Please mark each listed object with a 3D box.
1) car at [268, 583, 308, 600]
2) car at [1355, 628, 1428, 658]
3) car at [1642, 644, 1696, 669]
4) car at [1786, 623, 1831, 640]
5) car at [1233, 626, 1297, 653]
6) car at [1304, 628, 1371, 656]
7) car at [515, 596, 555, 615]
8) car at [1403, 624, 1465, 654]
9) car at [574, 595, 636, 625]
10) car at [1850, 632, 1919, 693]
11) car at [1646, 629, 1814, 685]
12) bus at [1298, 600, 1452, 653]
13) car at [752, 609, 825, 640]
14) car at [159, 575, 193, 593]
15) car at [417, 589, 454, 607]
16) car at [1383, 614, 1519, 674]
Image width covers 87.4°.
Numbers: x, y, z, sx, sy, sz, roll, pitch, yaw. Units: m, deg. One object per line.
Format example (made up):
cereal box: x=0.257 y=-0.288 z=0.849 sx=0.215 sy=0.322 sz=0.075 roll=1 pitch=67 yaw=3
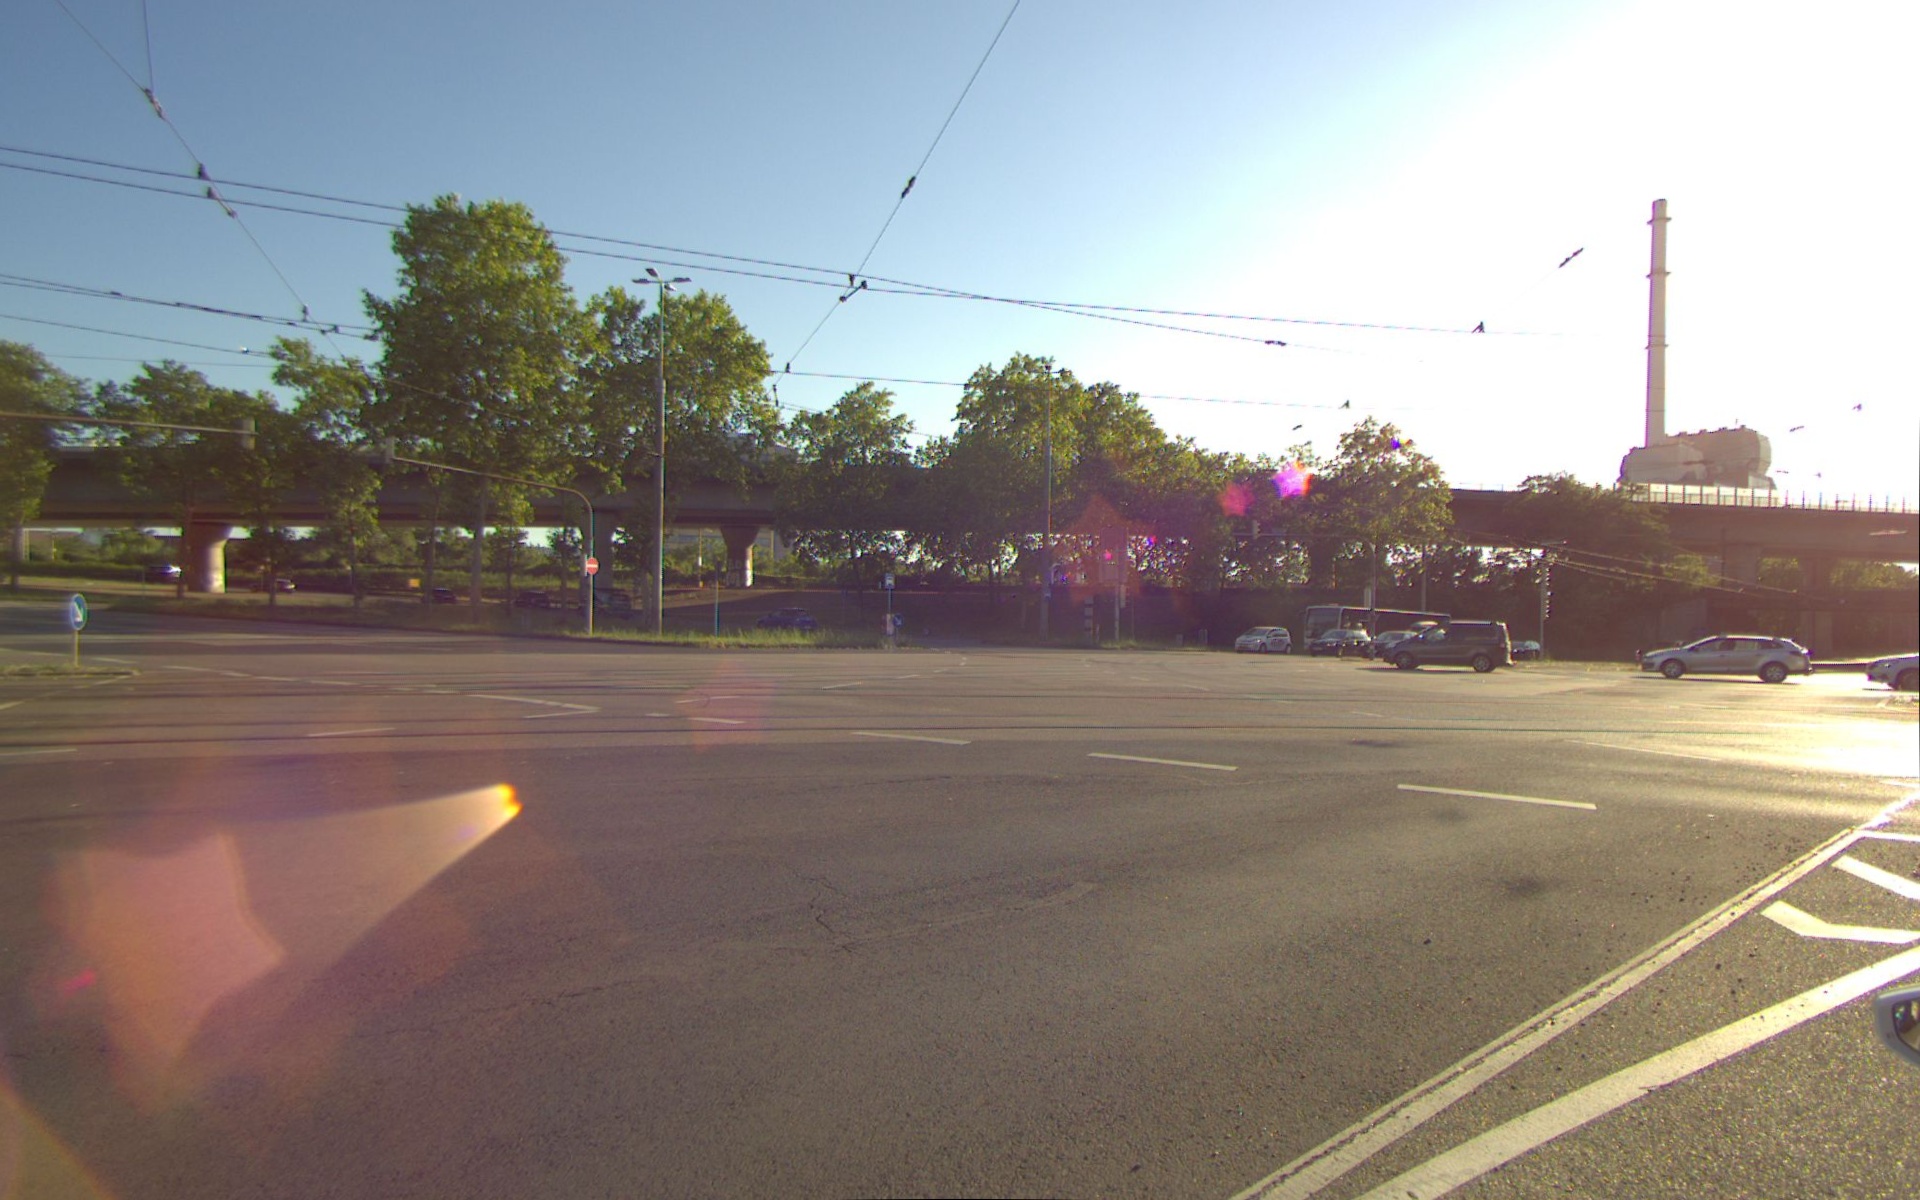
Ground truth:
car: x=-68.037 y=-0.856 z=101.640 sx=4.461 sy=1.473 sz=1.993 roll=3 pitch=0 yaw=37
car: x=21.772 y=2.171 z=50.642 sx=4.060 sy=1.372 sz=1.697 roll=2 pitch=-1 yaw=-39
car: x=60.840 y=4.797 z=86.172 sx=5.369 sy=2.040 sz=1.981 roll=2 pitch=-1 yaw=-34
car: x=101.112 y=3.723 z=119.710 sx=3.926 sy=1.795 sz=1.998 roll=3 pitch=0 yaw=-7
car: x=16.725 y=2.170 z=55.008 sx=3.705 sy=1.372 sz=1.590 roll=2 pitch=-1 yaw=-41
car: x=19.808 y=2.209 z=52.663 sx=3.969 sy=1.372 sz=1.590 roll=2 pitch=-1 yaw=-41
car: x=-35.498 y=0.435 z=83.836 sx=3.681 sy=1.441 sz=1.687 roll=1 pitch=-1 yaw=43
car: x=27.692 y=2.279 z=58.646 sx=4.060 sy=1.674 sz=1.697 roll=2 pitch=-1 yaw=-39
car: x=-24.605 y=0.675 z=69.562 sx=4.634 sy=1.930 sz=1.991 roll=1 pitch=-1 yaw=40
car: x=27.794 y=1.783 z=27.977 sx=4.234 sy=1.630 sz=1.852 roll=1 pitch=-1 yaw=33
car: x=25.620 y=1.855 z=33.626 sx=4.296 sy=1.630 sz=1.852 roll=1 pitch=-1 yaw=33
bus: x=25.968 y=1.723 z=62.287 sx=12.736 sy=2.993 sz=2.801 roll=2 pitch=-1 yaw=-37
car: x=-9.682 y=1.361 z=56.646 sx=3.875 sy=1.579 sz=1.991 roll=1 pitch=-1 yaw=39
car: x=-84.506 y=-1.715 z=108.217 sx=4.466 sy=1.644 sz=1.991 roll=3 pitch=1 yaw=40
car: x=-45.324 y=-0.157 z=86.783 sx=3.681 sy=1.441 sz=1.687 roll=1 pitch=-1 yaw=43
car: x=17.203 y=1.499 z=35.226 sx=4.075 sy=1.892 sz=1.852 roll=1 pitch=-1 yaw=33
